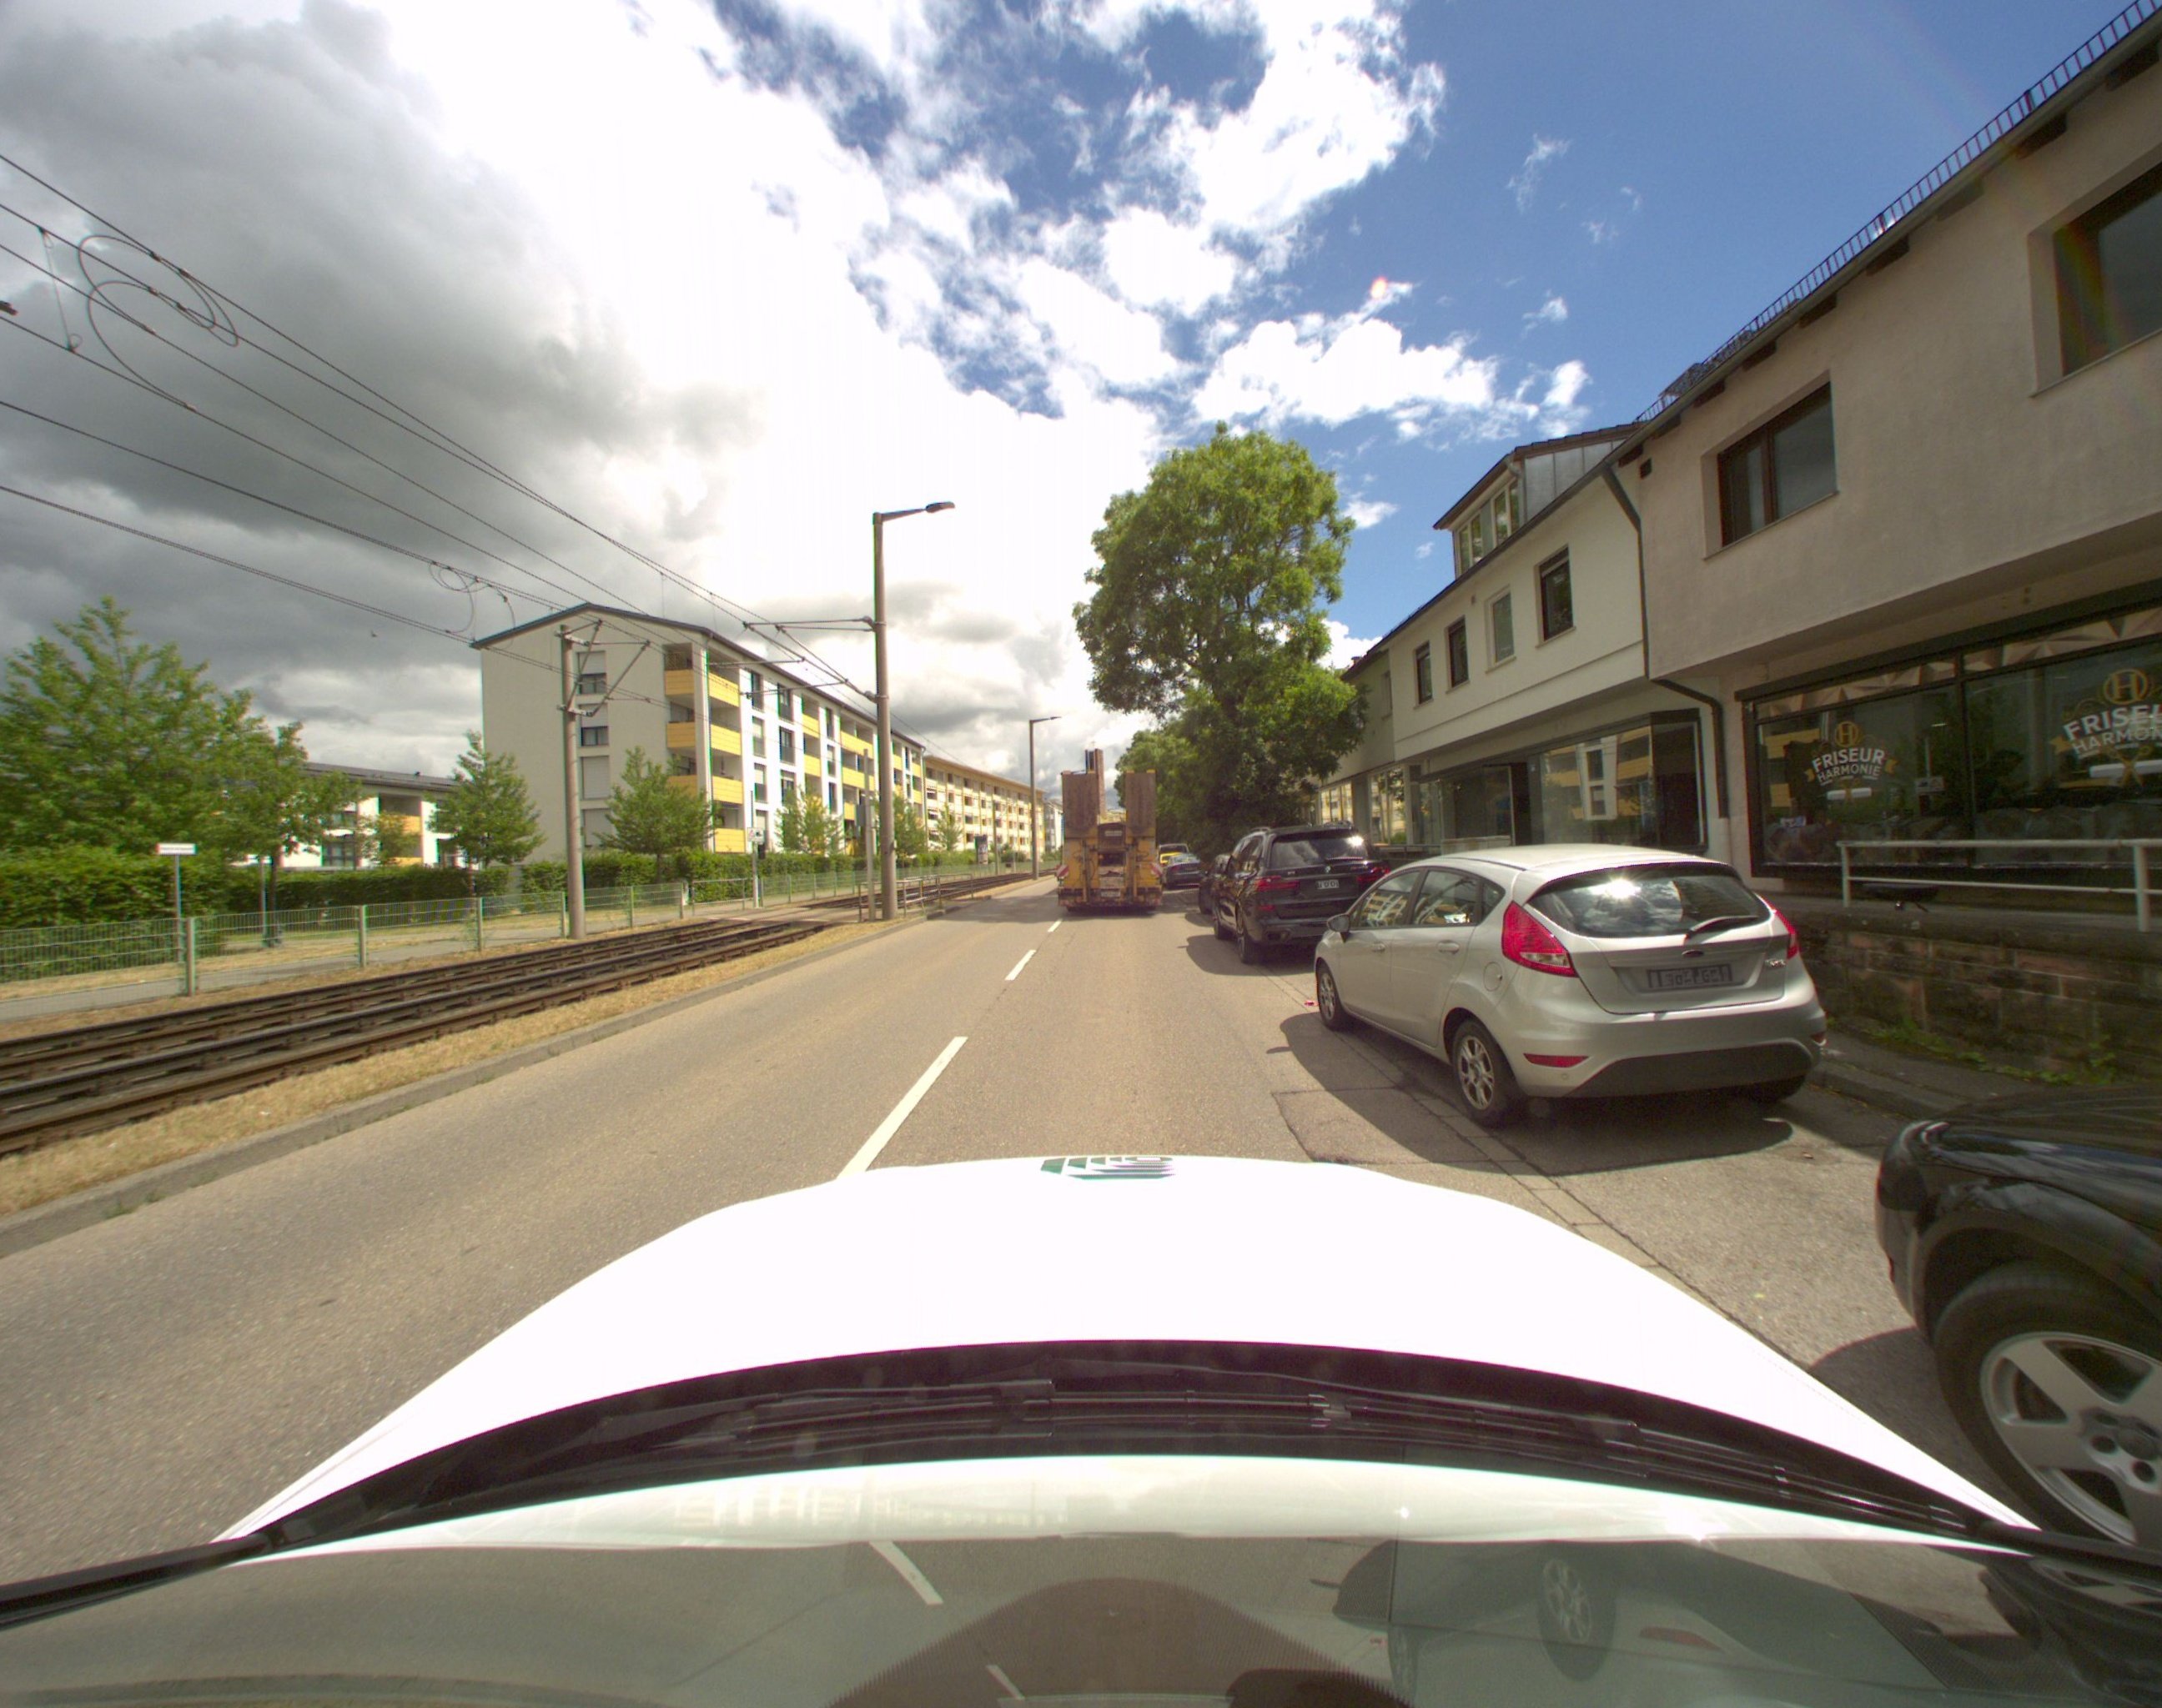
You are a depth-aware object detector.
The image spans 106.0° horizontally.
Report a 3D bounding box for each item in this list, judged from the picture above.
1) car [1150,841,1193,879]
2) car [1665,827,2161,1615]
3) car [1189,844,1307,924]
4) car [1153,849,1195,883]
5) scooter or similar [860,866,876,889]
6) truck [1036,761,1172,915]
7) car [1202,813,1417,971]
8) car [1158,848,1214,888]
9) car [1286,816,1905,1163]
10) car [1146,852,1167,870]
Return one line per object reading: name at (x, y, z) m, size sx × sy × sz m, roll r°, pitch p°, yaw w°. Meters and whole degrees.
car at (5.090, 0.338, 46.475) m, size 1.907 × 1.958 × 5.748 m, roll -3°, pitch 0°, yaw 2°
car at (2.721, 0.644, 0.706) m, size 1.762 × 1.349 × 4.006 m, roll -5°, pitch 0°, yaw 6°
car at (3.642, 0.611, 18.529) m, size 1.828 × 1.505 × 4.243 m, roll -3°, pitch 0°, yaw 1°
car at (4.523, 0.568, 40.066) m, size 1.748 × 1.442 × 4.344 m, roll -4°, pitch 0°, yaw 3°
scooter or similar at (-12.644, 1.380, 48.402) m, size 0.488 × 1.293 × 1.303 m, roll -2°, pitch 0°, yaw 4°
truck at (0.826, -0.376, 25.603) m, size 3.111 × 3.564 × 12.467 m, roll -2°, pitch 0°, yaw 3°
car at (3.092, 0.461, 12.244) m, size 2.006 × 1.788 × 5.080 m, roll -3°, pitch 0°, yaw 3°
car at (4.216, 0.547, 33.280) m, size 1.749 × 1.442 × 4.495 m, roll -3°, pitch 0°, yaw 1°
car at (2.852, 0.628, 5.682) m, size 1.766 × 1.442 × 3.899 m, roll -5°, pitch 0°, yaw 0°
car at (7.504, 0.665, 80.715) m, size 1.814 × 1.682 × 4.584 m, roll -3°, pitch 0°, yaw 7°
